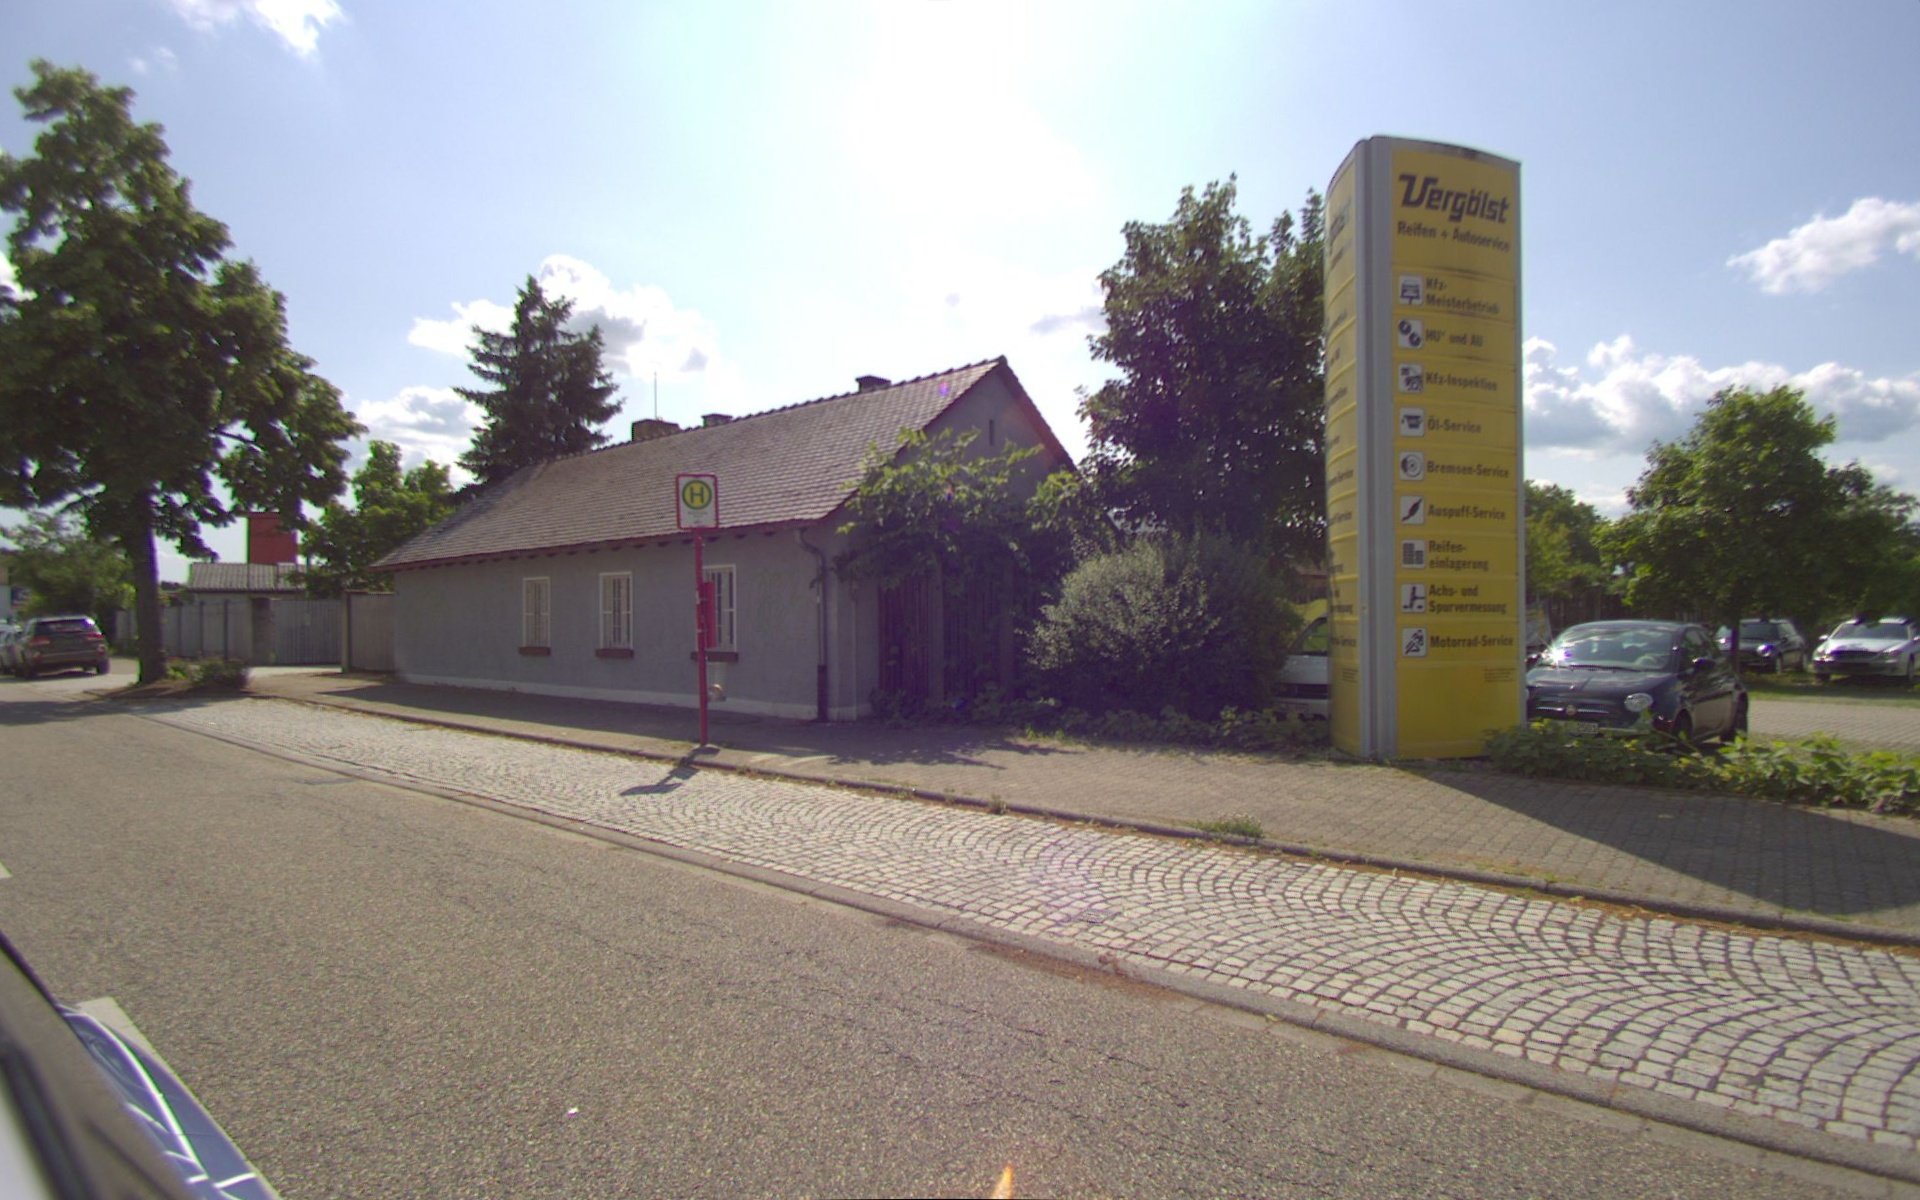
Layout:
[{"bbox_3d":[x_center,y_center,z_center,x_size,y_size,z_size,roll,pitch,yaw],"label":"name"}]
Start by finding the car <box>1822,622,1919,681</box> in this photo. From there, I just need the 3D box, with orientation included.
[{"bbox_3d":[21.387,1.150,23.449,3.428,1.165,1.679,-1,0,-41],"label":"car"}]

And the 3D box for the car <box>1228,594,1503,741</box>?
[{"bbox_3d":[5.450,0.787,13.436,3.718,1.684,1.794,0,-1,-39],"label":"car"}]

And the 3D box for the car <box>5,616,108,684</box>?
[{"bbox_3d":[-27.237,1.425,30.453,4.786,1.836,1.898,-1,1,43],"label":"car"}]

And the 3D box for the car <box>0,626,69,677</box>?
[{"bbox_3d":[-31.639,1.702,34.098,4.739,1.529,1.716,-2,1,40],"label":"car"}]

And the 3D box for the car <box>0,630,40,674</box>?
[{"bbox_3d":[-35.586,1.915,37.470,4.023,1.459,1.612,-1,3,40],"label":"car"}]

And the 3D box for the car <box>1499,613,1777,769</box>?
[{"bbox_3d":[7.576,0.886,11.214,3.364,1.433,1.665,0,-1,-40],"label":"car"}]

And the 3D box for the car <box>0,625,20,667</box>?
[{"bbox_3d":[-39.839,1.904,41.150,4.409,1.616,1.708,-1,2,39],"label":"car"}]
